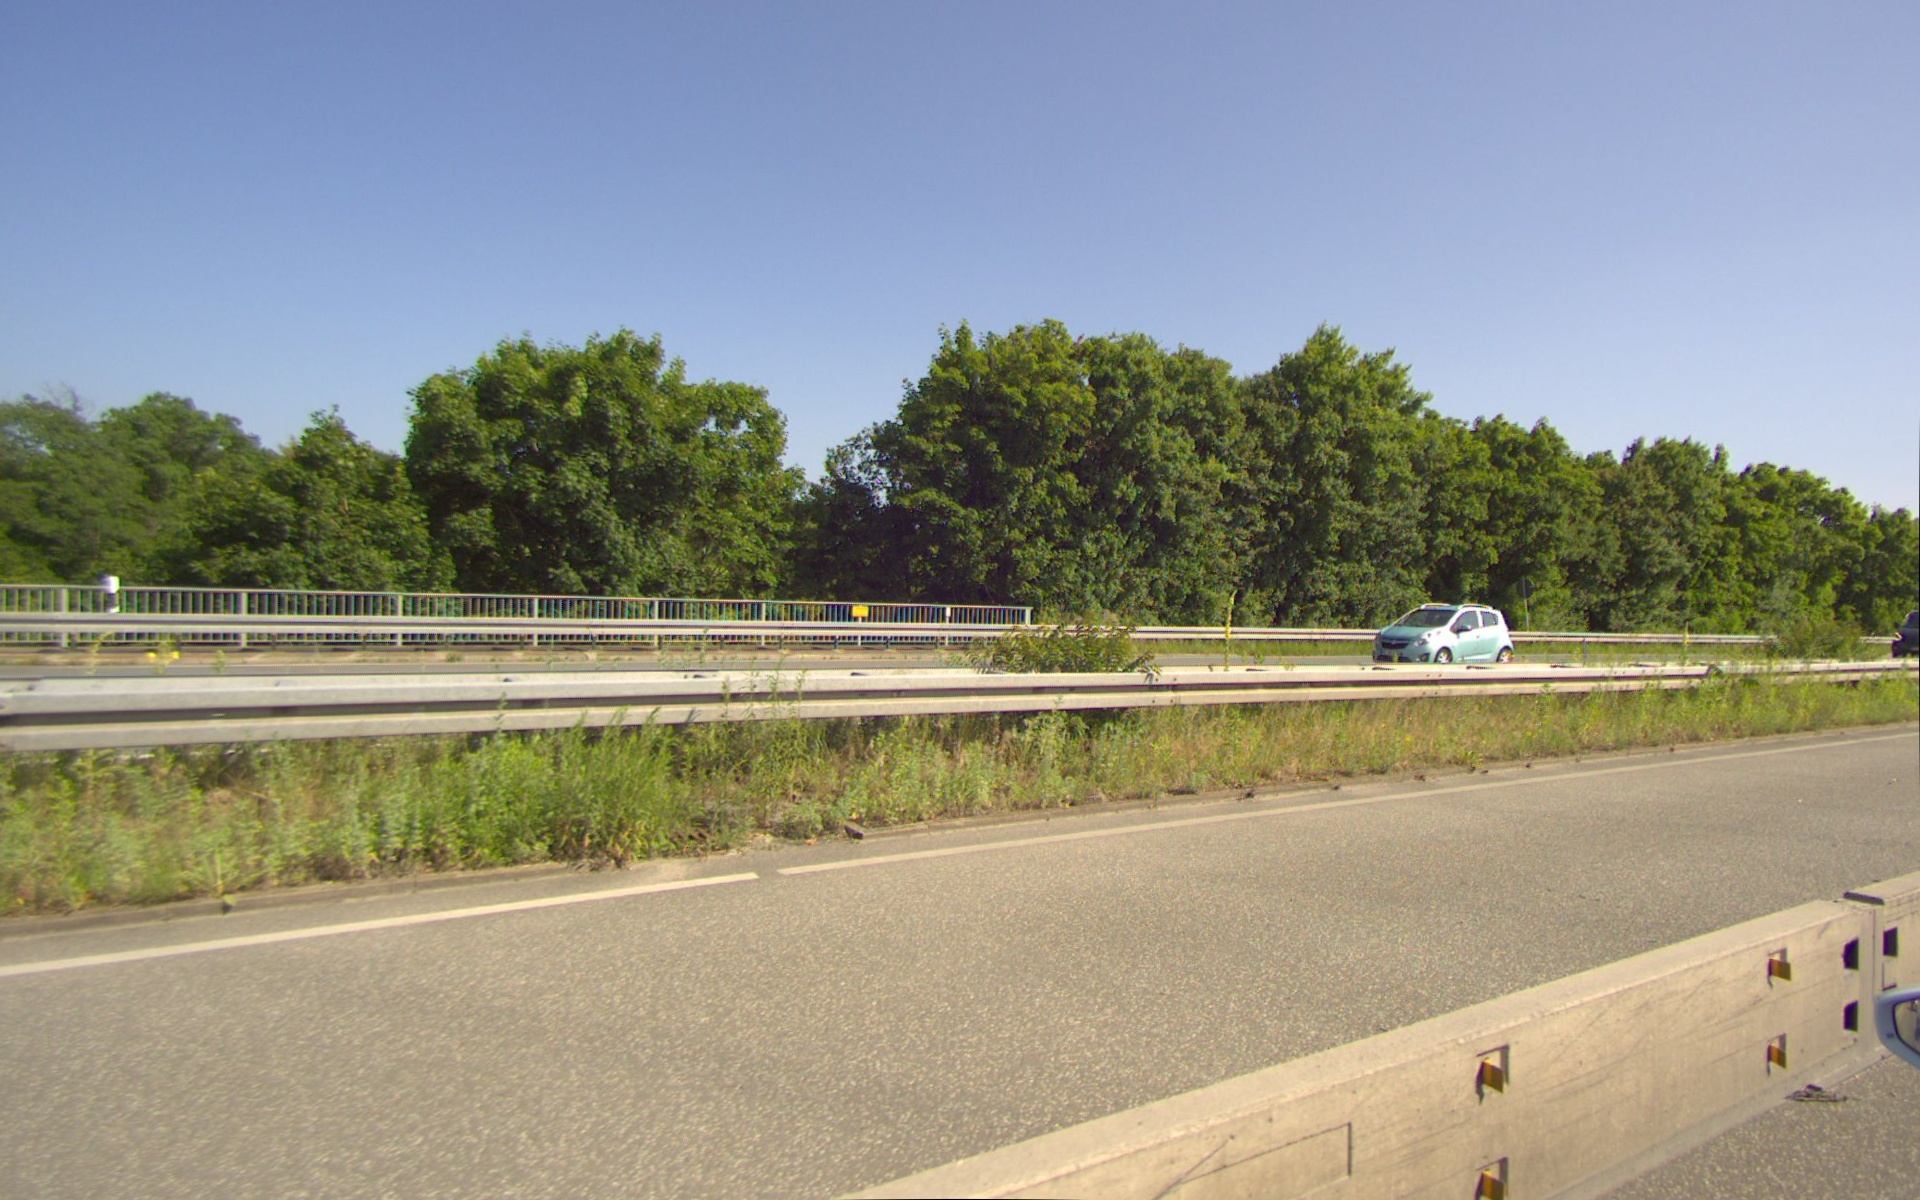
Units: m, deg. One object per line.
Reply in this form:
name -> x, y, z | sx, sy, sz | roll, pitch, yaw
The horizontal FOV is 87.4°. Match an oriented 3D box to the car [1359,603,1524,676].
car -> 11.197, 0.890, 23.310 | 3.774, 1.551, 1.638 | 1, 0, -31

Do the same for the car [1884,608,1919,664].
car -> 37.520, 1.366, 38.248 | 5.106, 2.062, 1.984 | 1, 0, -30
